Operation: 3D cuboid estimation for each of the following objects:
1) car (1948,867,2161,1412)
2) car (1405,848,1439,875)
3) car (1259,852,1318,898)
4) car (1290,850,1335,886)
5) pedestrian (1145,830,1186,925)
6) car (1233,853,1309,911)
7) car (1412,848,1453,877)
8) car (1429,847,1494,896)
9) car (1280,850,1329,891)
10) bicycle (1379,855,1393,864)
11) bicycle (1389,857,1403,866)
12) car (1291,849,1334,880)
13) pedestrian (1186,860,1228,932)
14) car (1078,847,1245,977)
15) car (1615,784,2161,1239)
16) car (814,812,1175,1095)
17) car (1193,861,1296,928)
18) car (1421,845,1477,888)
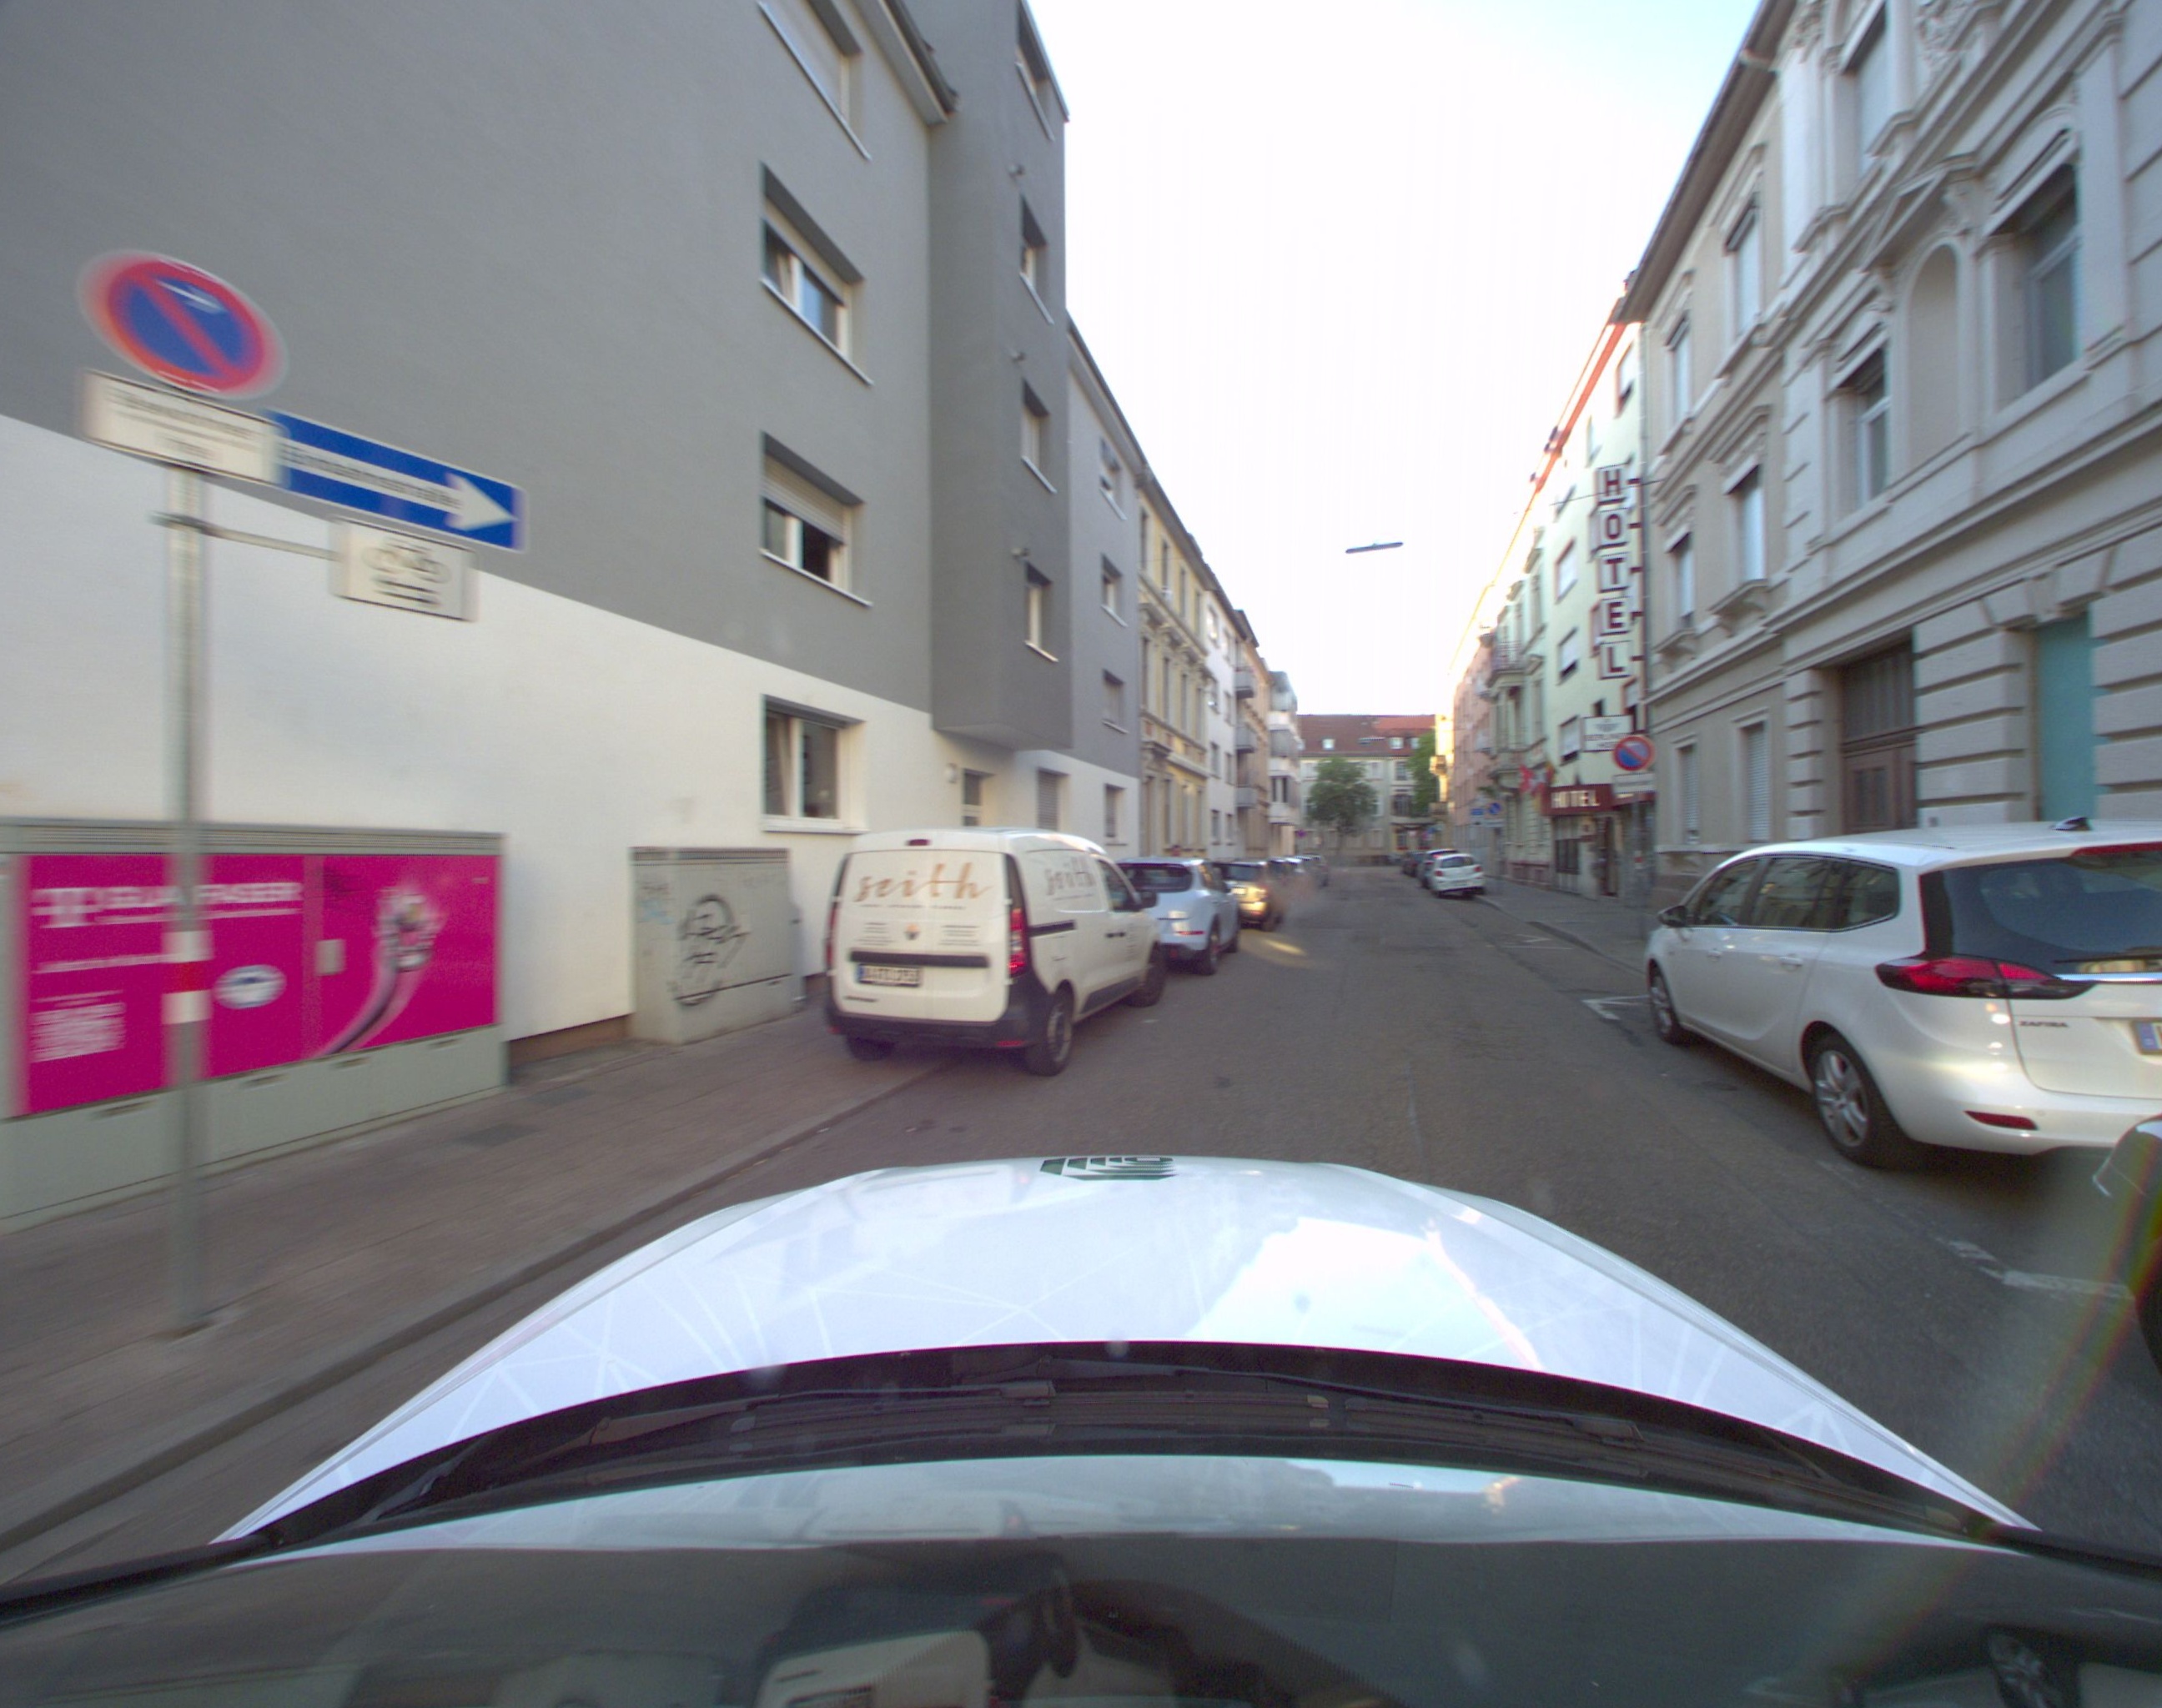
[{"bbox_3d":[3.136,0.774,0.439,1.867,1.408,4.755,-1,0,23],"label":"car"},{"bbox_3d":[23.100,0.504,55.241,1.976,1.761,4.021,-1,0,21],"label":"car"},{"bbox_3d":[7.371,0.712,28.772,1.616,1.472,3.773,-1,0,20],"label":"car"},{"bbox_3d":[11.478,0.646,40.253,1.978,1.666,4.429,-1,0,17],"label":"car"},{"bbox_3d":[1.842,0.495,17.653,0.793,2.013,0.778,-1,0,10],"label":"pedestrian"},{"bbox_3d":[5.673,0.756,24.014,1.713,1.509,3.850,-1,0,20],"label":"car"},{"bbox_3d":[21.522,0.487,49.968,1.977,1.708,4.019,-1,0,19],"label":"car"},{"bbox_3d":[13.587,0.599,29.278,1.648,1.459,3.778,-7,-2,20],"label":"car"},{"bbox_3d":[9.516,0.651,34.461,1.601,1.570,4.325,-1,0,20],"label":"car"},{"bbox_3d":[32.105,0.576,85.717,0.518,0.949,1.717,-1,0,-12],"label":"bicycle"},{"bbox_3d":[32.472,0.797,84.025,0.518,0.894,1.718,-1,0,-12],"label":"bicycle"},{"bbox_3d":[13.192,0.594,46.305,1.976,1.662,3.998,-1,0,21],"label":"car"},{"bbox_3d":[2.526,0.826,16.326,0.659,1.410,0.671,-1,0,-8],"label":"pedestrian"},{"bbox_3d":[1.421,0.714,12.436,1.750,1.563,4.385,-1,1,16],"label":"car"},{"bbox_3d":[5.031,0.567,5.132,1.801,1.723,4.484,-1,0,20],"label":"car"},{"bbox_3d":[-0.408,0.622,7.460,1.617,1.813,4.206,-1,0,19],"label":"car"},{"bbox_3d":[3.811,0.833,18.451,1.669,1.332,4.152,-1,-1,20],"label":"car"},{"bbox_3d":[15.895,0.526,35.356,1.976,1.732,4.080,-1,0,21],"label":"car"}]
